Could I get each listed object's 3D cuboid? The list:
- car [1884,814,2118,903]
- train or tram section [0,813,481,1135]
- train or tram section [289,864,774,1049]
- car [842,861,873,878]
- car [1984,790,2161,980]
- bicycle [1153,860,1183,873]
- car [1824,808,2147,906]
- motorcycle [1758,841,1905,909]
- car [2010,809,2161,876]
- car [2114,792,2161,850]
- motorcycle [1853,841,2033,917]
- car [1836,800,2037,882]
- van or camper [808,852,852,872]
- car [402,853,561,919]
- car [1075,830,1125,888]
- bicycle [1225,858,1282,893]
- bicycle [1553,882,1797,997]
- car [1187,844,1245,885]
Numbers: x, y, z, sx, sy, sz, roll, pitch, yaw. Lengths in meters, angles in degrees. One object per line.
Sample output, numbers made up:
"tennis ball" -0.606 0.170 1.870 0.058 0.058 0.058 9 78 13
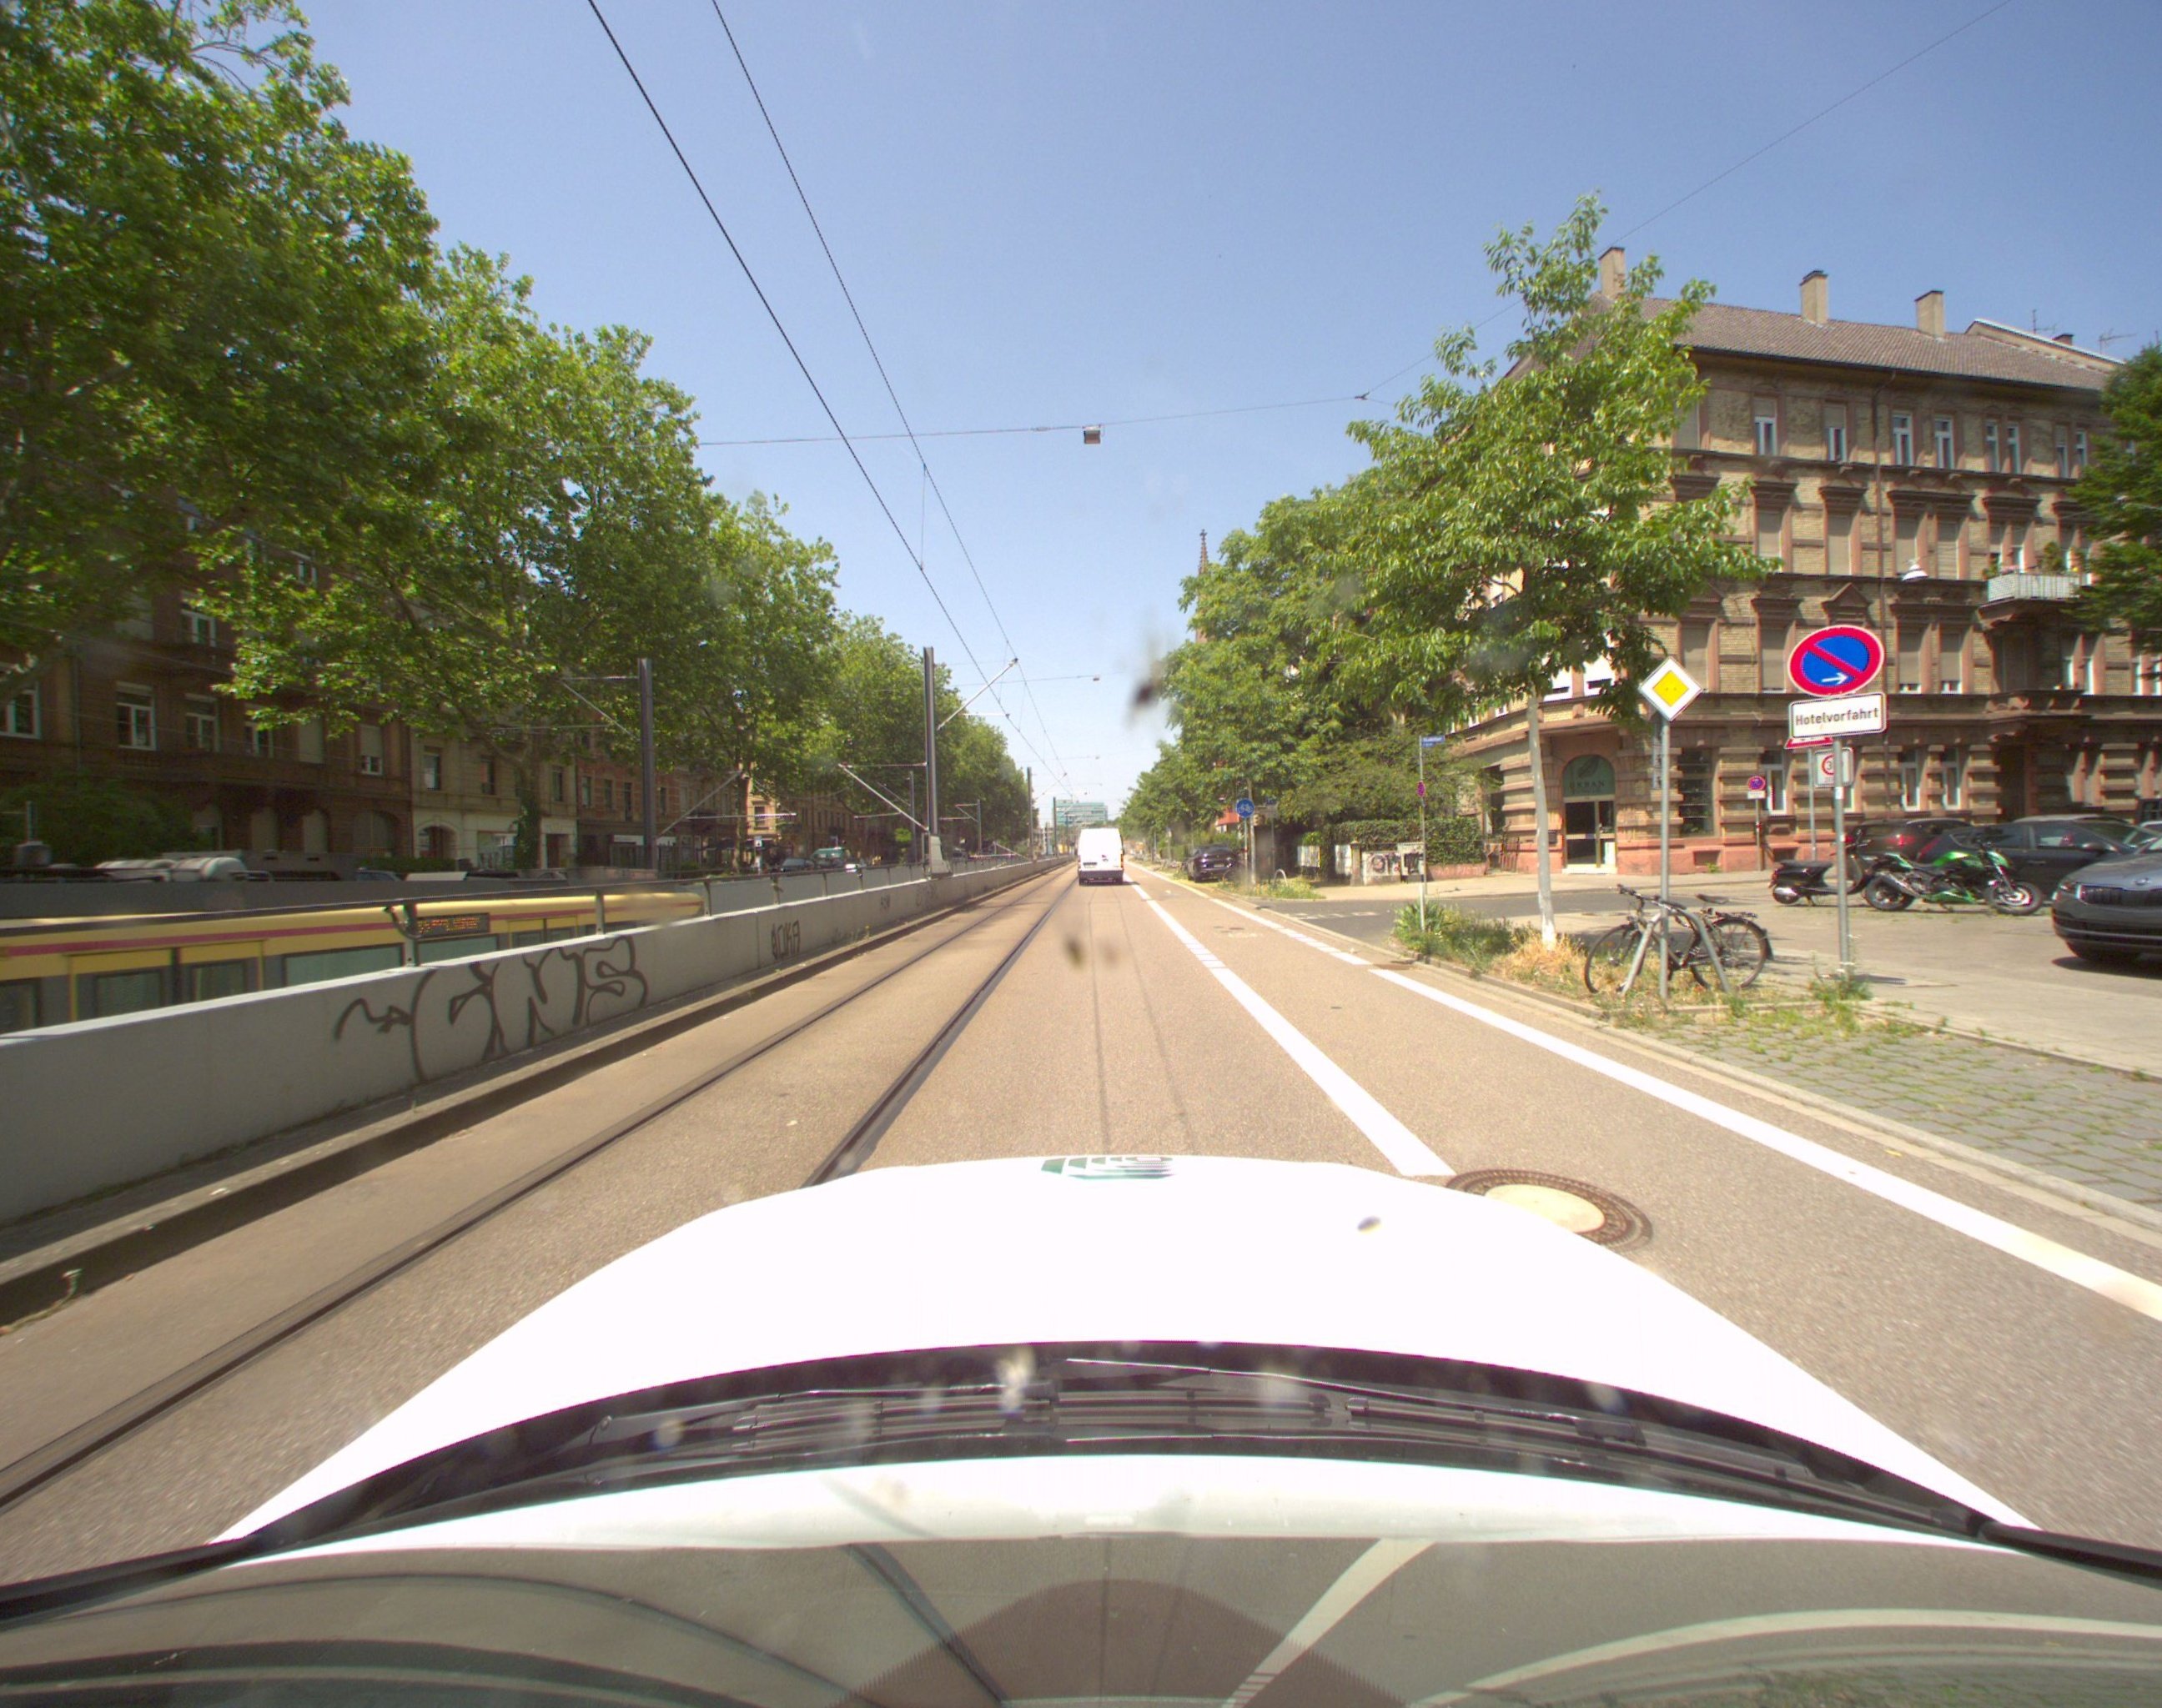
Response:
"car" 18.172 0.059 16.103 3.832 1.558 1.726 -2 0 -19
"train or tram section" -9.773 0.960 7.031 2.719 2.508 8.492 -1 0 1
"train or tram section" -9.558 1.559 16.392 2.719 2.509 10.089 -1 -2 1
"car" -23.097 1.594 84.336 1.987 1.684 4.000 -2 0 1
"car" 10.949 0.215 7.785 3.122 1.669 1.574 -2 0 -7
"bicycle" 6.189 0.848 57.638 1.548 0.826 4.015 -1 0 14
"car" 15.759 0.041 14.434 1.577 1.510 3.490 -2 0 -20
"motorcycle" 13.377 0.354 14.587 0.511 1.123 1.870 -1 0 -25
"car" 28.806 -0.344 22.856 3.988 1.728 1.800 -2 0 -11
"car" 34.443 -1.045 24.945 3.988 1.728 1.800 -2 0 -11
"motorcycle" 13.430 0.369 12.771 0.525 1.082 1.862 -1 0 -23
"car" 22.768 -0.356 21.732 3.988 2.013 1.800 -2 0 -11
"van or camper" -26.604 0.806 86.347 3.976 2.013 1.999 -2 0 -2
"car" -19.104 0.943 26.223 1.987 1.904 4.148 -1 0 0
"car" 0.866 0.193 37.897 2.110 2.459 5.054 -2 0 0
"bicycle" 6.157 0.752 29.121 1.881 1.182 0.640 -1 0 -1
"bicycle" 5.435 0.772 7.507 1.835 0.953 0.503 -2 0 2
"car" 6.119 0.447 37.346 2.148 1.670 4.004 -3 0 3
